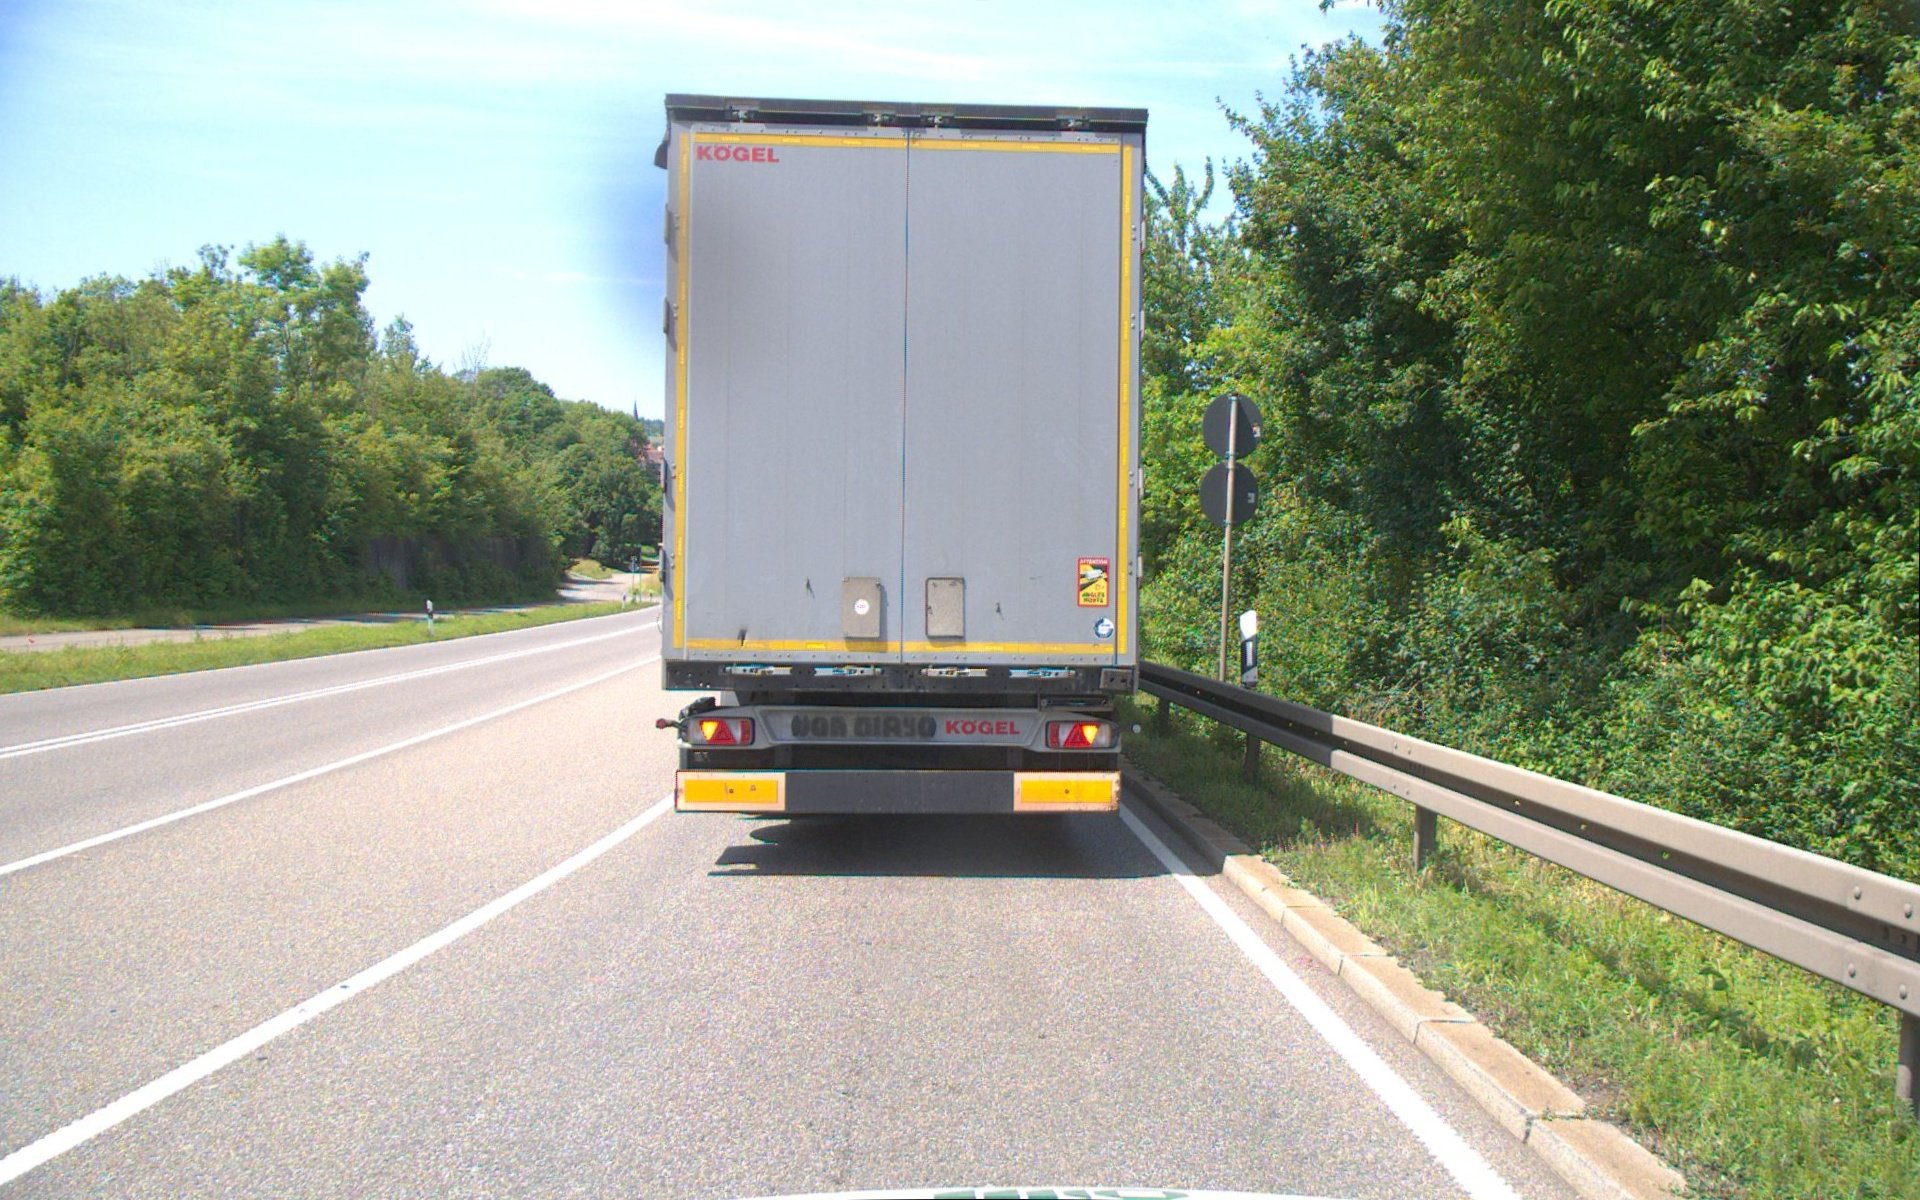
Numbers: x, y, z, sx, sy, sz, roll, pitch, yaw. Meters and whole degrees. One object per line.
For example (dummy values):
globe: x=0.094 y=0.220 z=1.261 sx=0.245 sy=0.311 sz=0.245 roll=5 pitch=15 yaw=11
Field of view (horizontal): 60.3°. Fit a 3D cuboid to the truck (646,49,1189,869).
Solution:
truck: x=-0.369 y=-0.739 z=14.311 sx=2.701 sy=4.100 sz=11.920 roll=1 pitch=0 yaw=-2
